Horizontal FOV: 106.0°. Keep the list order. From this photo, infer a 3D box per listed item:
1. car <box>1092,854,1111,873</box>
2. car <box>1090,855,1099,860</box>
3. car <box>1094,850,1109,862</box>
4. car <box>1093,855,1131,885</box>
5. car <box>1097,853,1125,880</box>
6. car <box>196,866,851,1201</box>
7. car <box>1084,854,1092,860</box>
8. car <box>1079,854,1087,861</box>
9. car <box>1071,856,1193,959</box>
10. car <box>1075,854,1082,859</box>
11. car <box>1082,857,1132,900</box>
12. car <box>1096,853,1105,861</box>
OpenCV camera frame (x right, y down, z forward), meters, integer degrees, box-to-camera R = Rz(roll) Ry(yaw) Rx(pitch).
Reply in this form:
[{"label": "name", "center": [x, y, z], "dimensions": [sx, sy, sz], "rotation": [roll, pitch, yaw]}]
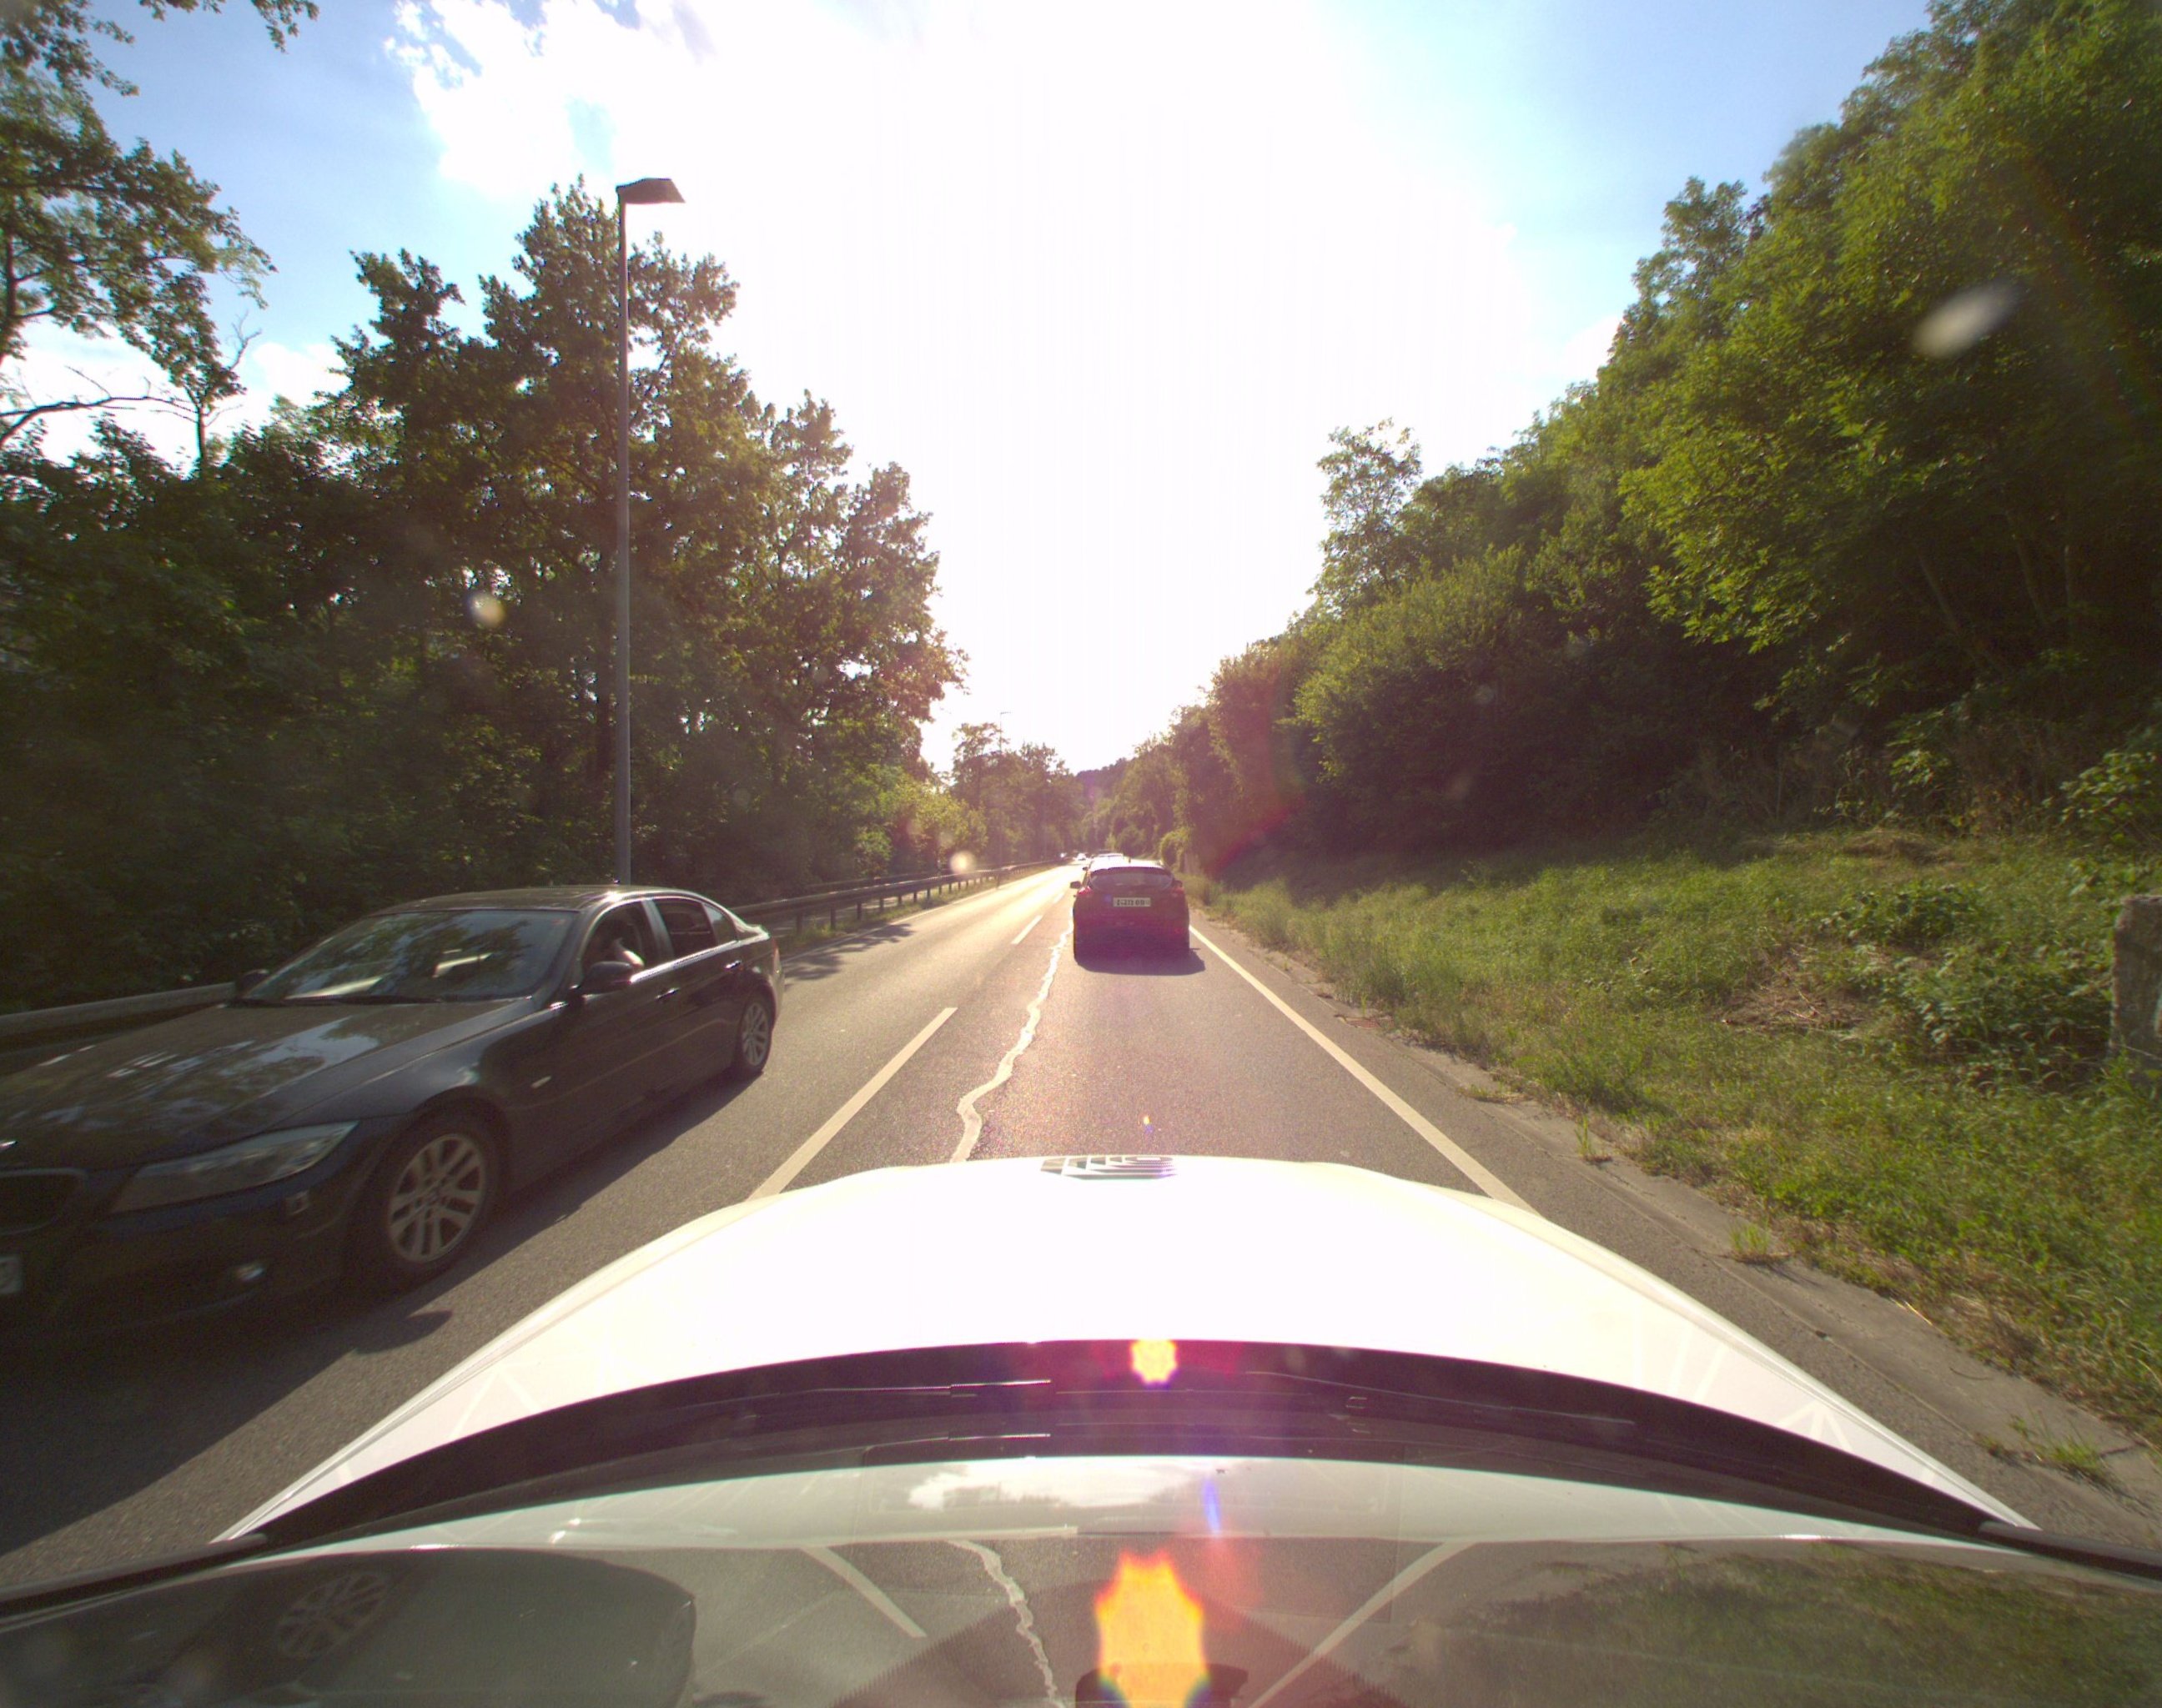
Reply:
[{"label": "car", "center": [1.805, 0.804, 70.563], "dimensions": [1.624, 1.596, 4.002], "rotation": [-1, 0, 2]}, {"label": "car", "center": [3.583, 0.953, 219.140], "dimensions": [1.991, 1.519, 3.992], "rotation": [-1, 0, -6]}, {"label": "car", "center": [3.044, 0.311, 121.413], "dimensions": [1.859, 1.780, 3.995], "rotation": [-1, 0, -3]}, {"label": "car", "center": [1.540, 0.761, 40.508], "dimensions": [1.798, 1.391, 4.002], "rotation": [-1, 0, 2]}, {"label": "car", "center": [1.857, 0.725, 50.448], "dimensions": [1.624, 1.596, 4.002], "rotation": [-1, 0, 2]}, {"label": "car", "center": [-3.117, 0.846, 5.763], "dimensions": [1.685, 1.420, 4.143], "rotation": [-1, 0, 1]}, {"label": "car", "center": [2.106, 0.888, 239.644], "dimensions": [1.991, 1.519, 3.992], "rotation": [-1, 0, -5]}, {"label": "car", "center": [0.428, 0.792, 167.150], "dimensions": [1.617, 1.377, 4.048], "rotation": [-3, 0, 1]}, {"label": "car", "center": [0.796, 0.777, 13.670], "dimensions": [1.733, 1.456, 4.002], "rotation": [-1, 0, 2]}, {"label": "car", "center": [-0.793, 0.898, 255.992], "dimensions": [1.991, 1.519, 3.992], "rotation": [-1, 0, -6]}, {"label": "car", "center": [1.003, 0.824, 29.338], "dimensions": [1.654, 1.418, 4.003], "rotation": [-1, 0, 3]}, {"label": "car", "center": [3.968, 0.628, 164.891], "dimensions": [1.812, 1.519, 4.002], "rotation": [-1, 0, 2]}]
